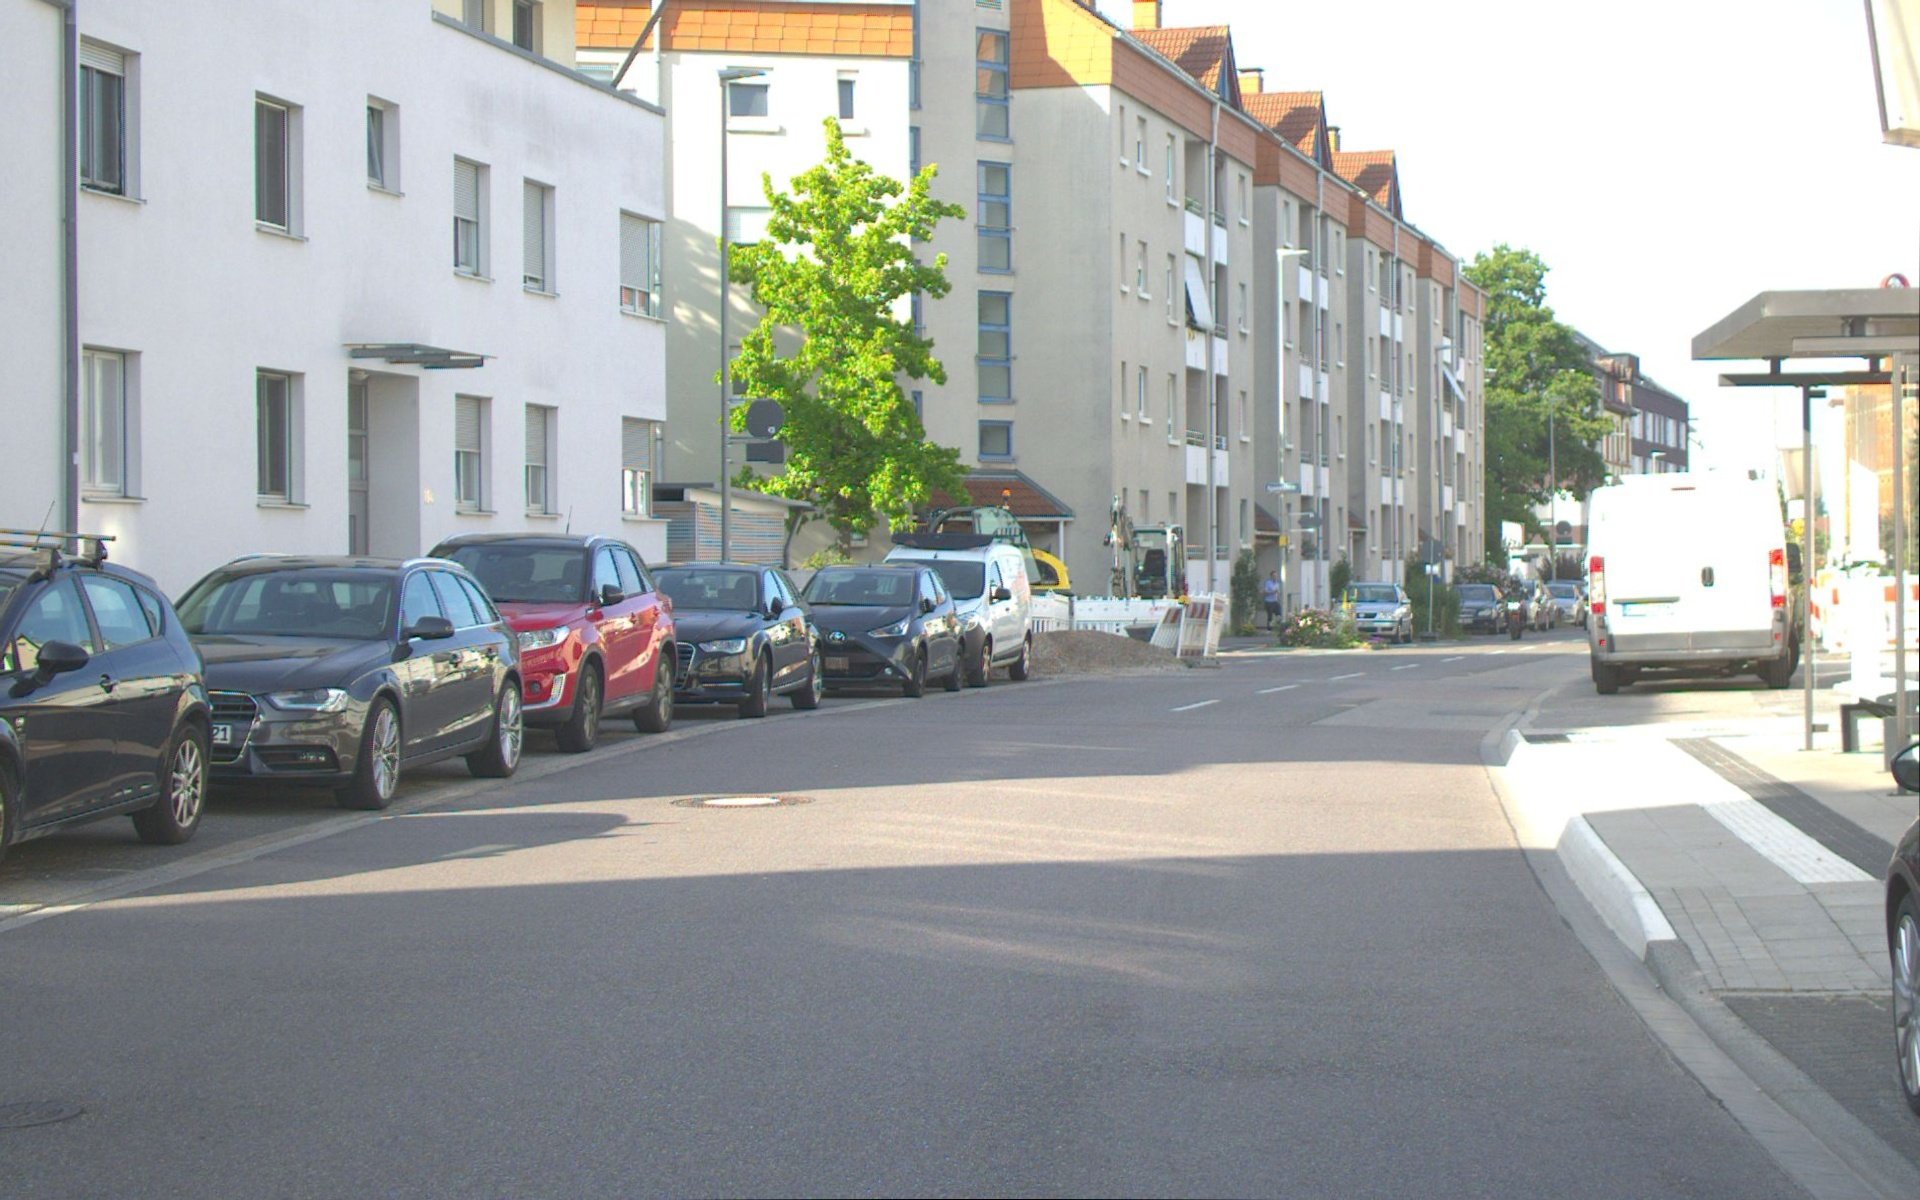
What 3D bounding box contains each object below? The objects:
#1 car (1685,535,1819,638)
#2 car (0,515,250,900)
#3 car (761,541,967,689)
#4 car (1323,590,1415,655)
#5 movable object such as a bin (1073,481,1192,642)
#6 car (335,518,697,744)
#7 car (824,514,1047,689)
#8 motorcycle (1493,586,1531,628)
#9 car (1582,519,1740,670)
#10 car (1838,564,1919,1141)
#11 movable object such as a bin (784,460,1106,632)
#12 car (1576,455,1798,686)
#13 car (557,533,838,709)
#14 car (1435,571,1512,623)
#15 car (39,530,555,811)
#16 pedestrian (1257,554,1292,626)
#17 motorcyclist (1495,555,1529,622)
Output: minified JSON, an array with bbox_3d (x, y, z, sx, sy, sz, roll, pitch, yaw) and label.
[{"bbox_3d":[15.135,-0.291,65.559,2.077,1.849,4.606,-2,1,18],"label":"car"},{"bbox_3d":[-4.878,0.429,15.880,1.776,1.616,4.177,3,2,8],"label":"car"},{"bbox_3d":[-1.016,0.126,38.032,1.493,1.460,3.512,4,2,11],"label":"car"},{"bbox_3d":[9.366,0.497,78.497,1.641,1.391,3.669,-1,0,14],"label":"car"},{"bbox_3d":[3.512,-0.815,69.398,1.649,3.127,3.898,1,2,14],"label":"movable object such as a bin"},{"bbox_3d":[-3.352,0.180,26.765,1.728,1.616,4.262,0,1,8],"label":"car"},{"bbox_3d":[-0.237,-0.024,42.497,1.728,1.954,4.436,3,2,12],"label":"car"},{"bbox_3d":[13.633,0.167,84.872,0.769,0.981,2.198,2,1,13],"label":"motorcycle"},{"bbox_3d":[8.754,-0.096,42.738,1.779,1.735,4.481,-2,1,13],"label":"car"},{"bbox_3d":[3.119,0.653,7.565,1.608,1.416,3.919,1,1,4],"label":"car"},{"bbox_3d":[-0.246,-0.946,60.061,5.497,2.890,2.112,1,1,1],"label":"movable object such as a bin"},{"bbox_3d":[8.048,-0.338,37.917,2.175,2.319,4.995,-2,1,13],"label":"car"},{"bbox_3d":[-2.374,0.140,32.145,1.728,1.473,4.262,2,1,8],"label":"car"},{"bbox_3d":[14.378,-0.106,96.137,1.687,1.401,4.081,1,1,15],"label":"car"},{"bbox_3d":[-3.933,0.340,21.207,1.728,1.473,4.501,2,1,8],"label":"car"},{"bbox_3d":[8.264,-0.260,90.332,0.719,1.812,0.744,4,3,16],"label":"pedestrian"},{"bbox_3d":[13.641,-0.285,84.896,0.769,1.646,0.843,1,1,12],"label":"motorcyclist"}]
